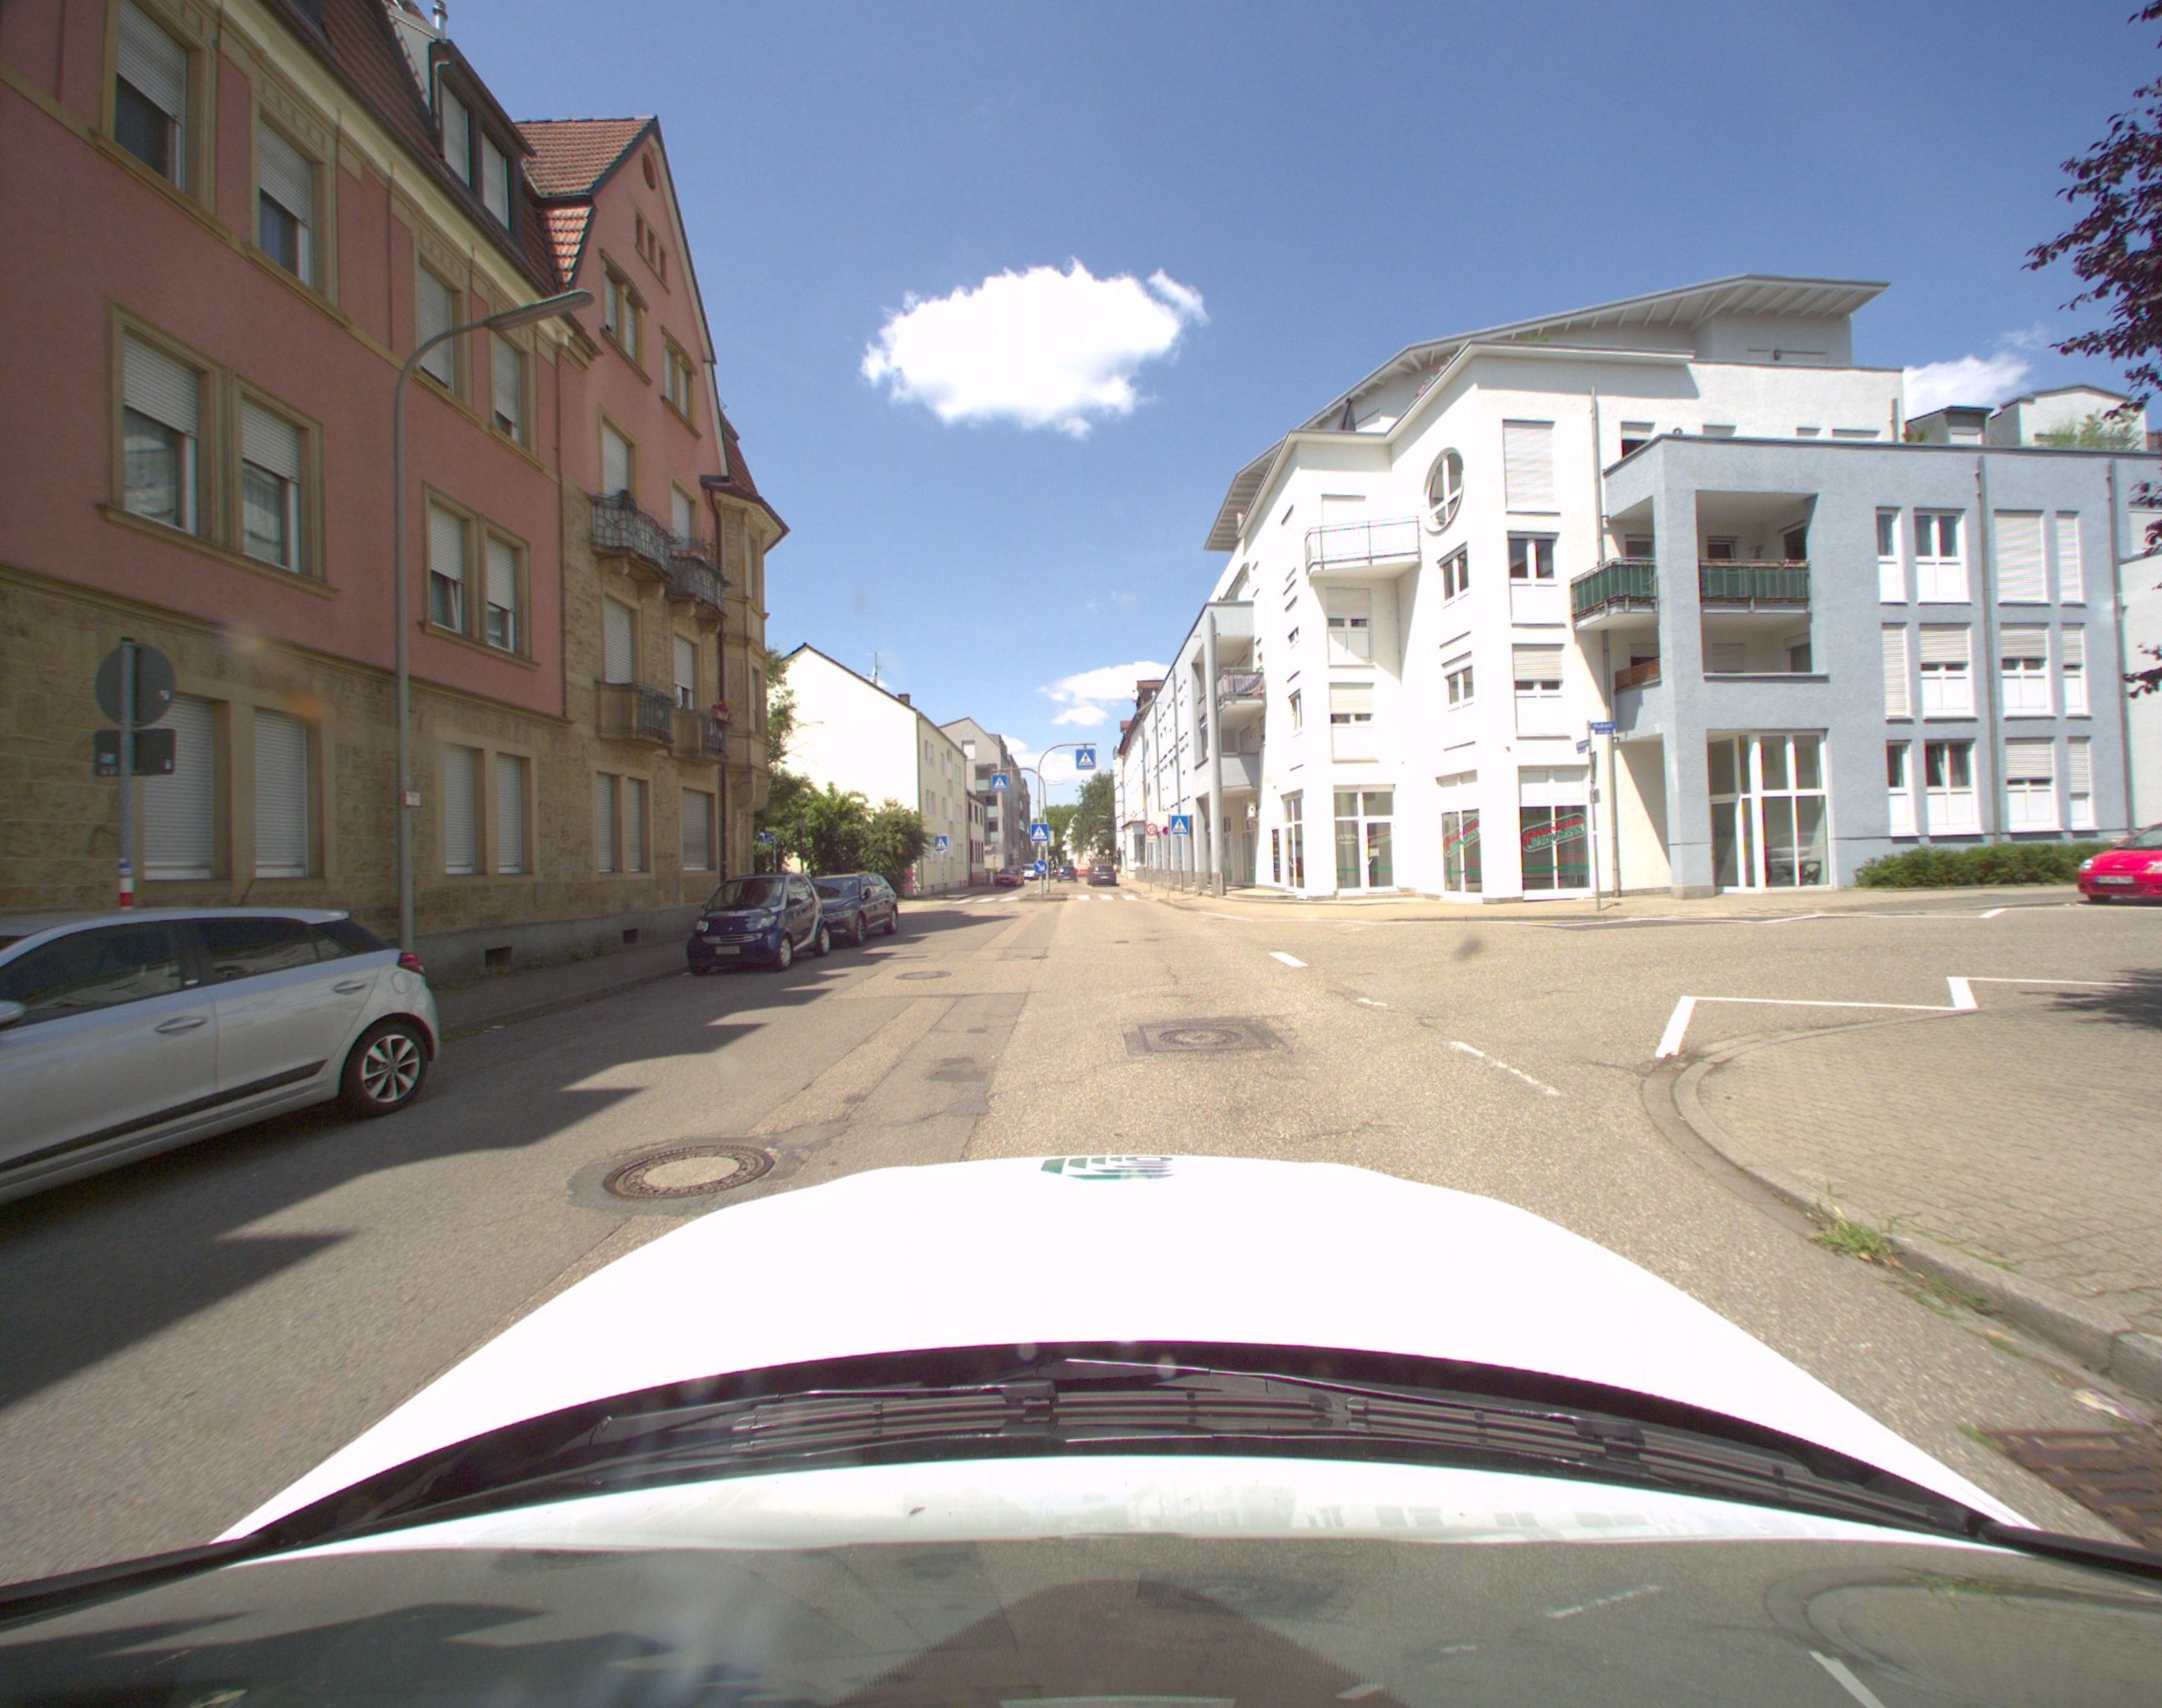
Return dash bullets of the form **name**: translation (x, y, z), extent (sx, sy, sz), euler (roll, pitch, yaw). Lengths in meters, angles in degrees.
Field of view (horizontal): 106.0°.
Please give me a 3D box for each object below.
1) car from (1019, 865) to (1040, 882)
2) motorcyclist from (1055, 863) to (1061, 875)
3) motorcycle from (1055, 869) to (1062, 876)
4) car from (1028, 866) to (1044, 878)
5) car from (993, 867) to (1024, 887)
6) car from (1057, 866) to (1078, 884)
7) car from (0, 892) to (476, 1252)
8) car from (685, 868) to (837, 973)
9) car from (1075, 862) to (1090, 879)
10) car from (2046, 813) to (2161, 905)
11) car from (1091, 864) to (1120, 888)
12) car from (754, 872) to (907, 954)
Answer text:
- **car**: translation (-5.724, 2.150, 91.106), extent (1.750, 1.892, 4.340), euler (0, -1, 3)
- **motorcyclist**: translation (-3.199, 2.030, 113.849), extent (0.710, 1.634, 1.069), euler (-3, -1, 3)
- **motorcycle**: translation (-3.168, 2.579, 113.891), extent (0.710, 1.028, 2.241), euler (-3, 0, 3)
- **car**: translation (-5.736, 2.268, 104.601), extent (1.717, 1.456, 4.005), euler (-1, -1, 0)
- **car**: translation (-5.594, 1.747, 63.426), extent (1.827, 1.417, 4.291), euler (-2, -1, 2)
- **car**: translation (-1.180, 1.797, 71.102), extent (1.710, 1.402, 3.999), euler (-2, 0, -1)
- **car**: translation (-5.458, 1.040, 4.127), extent (1.629, 1.431, 4.019), euler (-4, -1, 1)
- **car**: translation (-5.216, 1.022, 13.599), extent (1.432, 1.523, 2.695), euler (-2, -1, 0)
- **car**: translation (0.135, 2.098, 104.236), extent (1.833, 2.013, 3.999), euler (-2, 0, 0)
- **car**: translation (19.669, 0.024, 14.379), extent (3.498, 1.541, 1.594), euler (-2, -1, -3)
- **car**: translation (1.657, 1.514, 56.231), extent (1.705, 1.508, 3.996), euler (-2, -1, -3)
- **car**: translation (-5.257, 1.166, 17.795), extent (1.776, 1.458, 4.635), euler (-3, -1, 1)
